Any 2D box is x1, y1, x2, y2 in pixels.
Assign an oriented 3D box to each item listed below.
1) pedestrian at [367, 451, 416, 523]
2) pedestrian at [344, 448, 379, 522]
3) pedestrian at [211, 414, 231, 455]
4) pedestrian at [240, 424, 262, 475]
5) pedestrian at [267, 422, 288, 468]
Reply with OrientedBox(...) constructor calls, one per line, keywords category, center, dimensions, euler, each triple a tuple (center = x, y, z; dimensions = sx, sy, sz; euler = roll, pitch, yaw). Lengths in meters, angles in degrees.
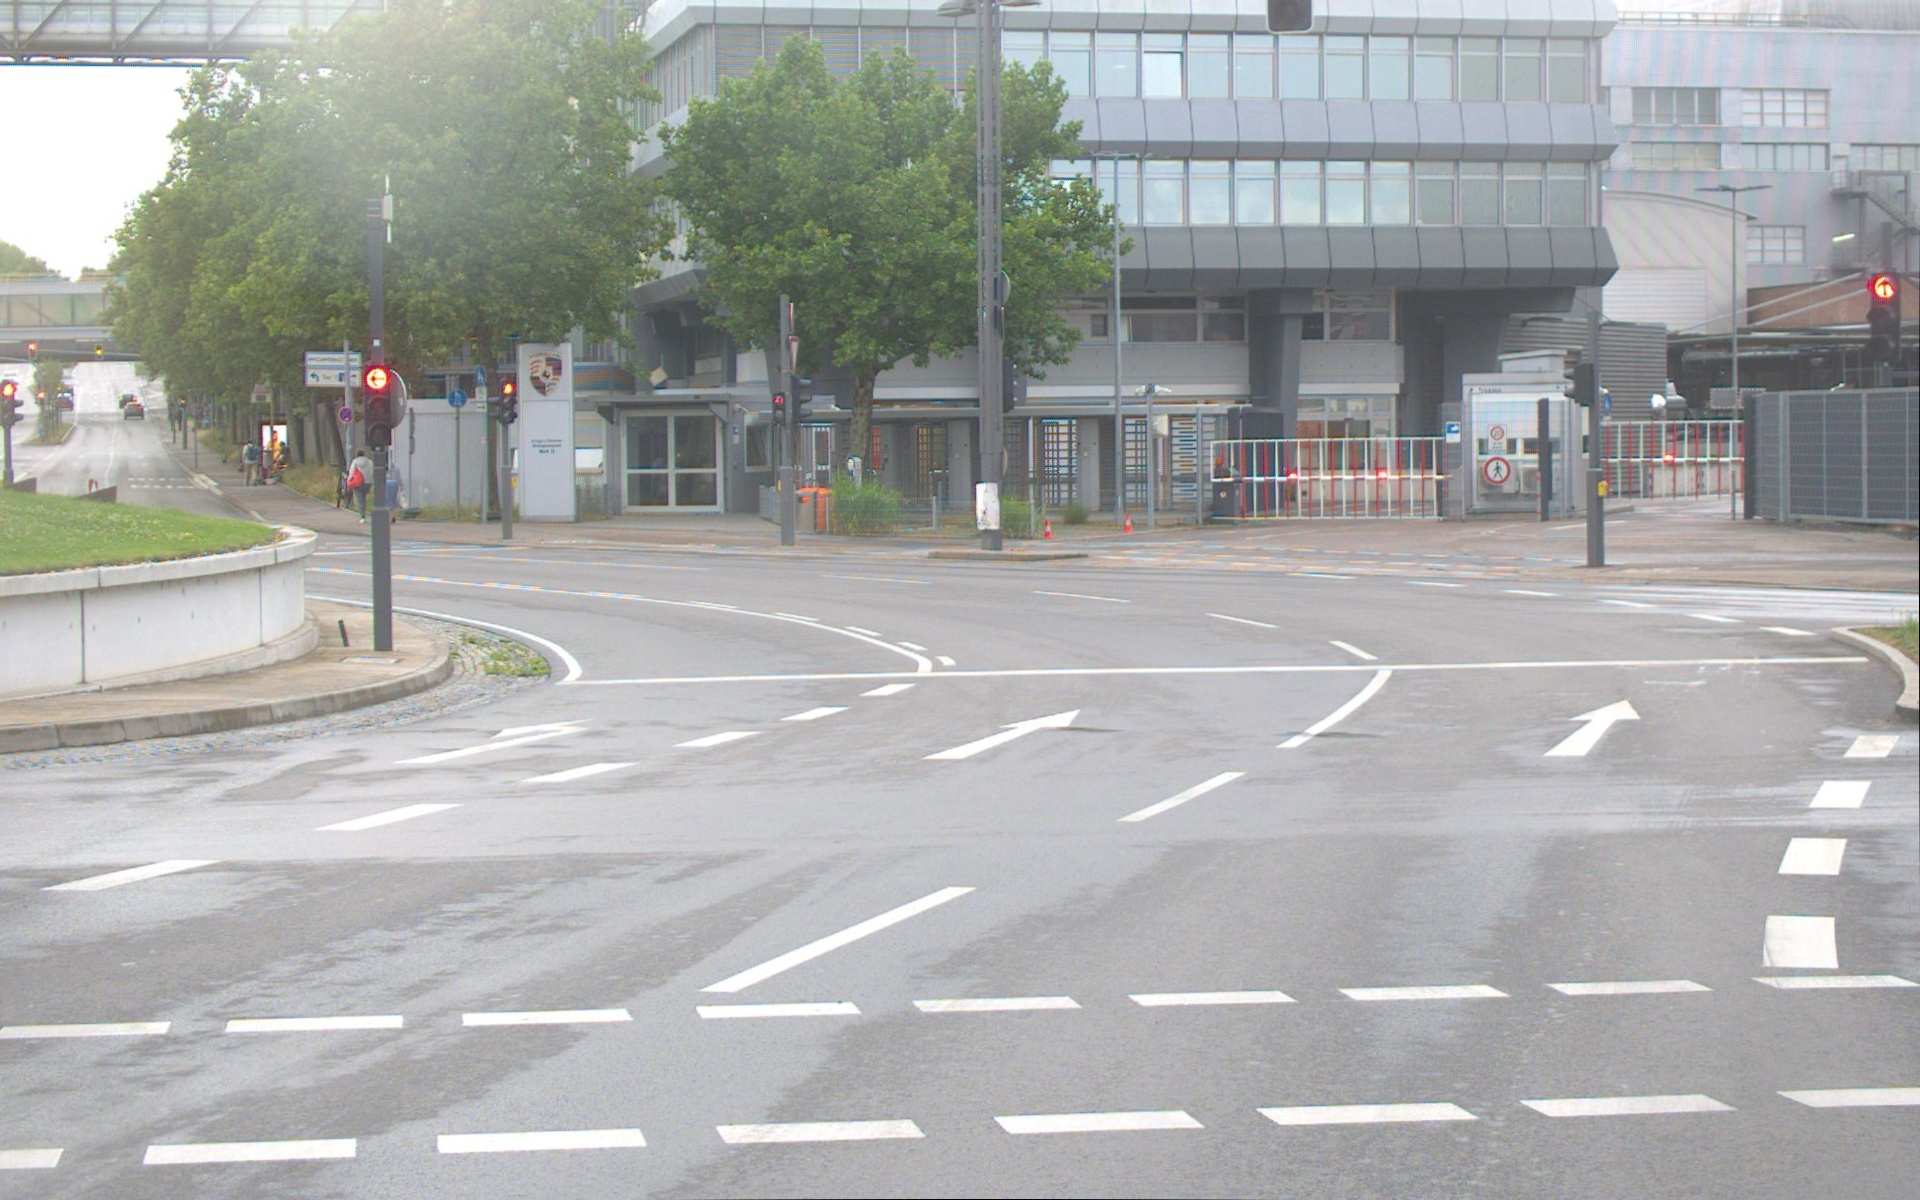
OrientedBox(category="pedestrian", center=(-12.305, -2.457, 74.446), dimensions=(0.831, 1.515, 0.842), euler=(-2, 3, -24))
OrientedBox(category="pedestrian", center=(-13.100, -2.527, 75.227), dimensions=(0.709, 1.586, 0.841), euler=(-1, 3, -9))
OrientedBox(category="pedestrian", center=(-35.670, -7.987, 165.943), dimensions=(0.765, 2.006, 0.692), euler=(0, 2, 3))
OrientedBox(category="pedestrian", center=(-24.825, -5.267, 120.446), dimensions=(0.711, 1.734, 0.760), euler=(1, 0, -14))
OrientedBox(category="pedestrian", center=(-25.886, -5.873, 130.353), dimensions=(0.757, 1.734, 0.714), euler=(1, 0, -10))
